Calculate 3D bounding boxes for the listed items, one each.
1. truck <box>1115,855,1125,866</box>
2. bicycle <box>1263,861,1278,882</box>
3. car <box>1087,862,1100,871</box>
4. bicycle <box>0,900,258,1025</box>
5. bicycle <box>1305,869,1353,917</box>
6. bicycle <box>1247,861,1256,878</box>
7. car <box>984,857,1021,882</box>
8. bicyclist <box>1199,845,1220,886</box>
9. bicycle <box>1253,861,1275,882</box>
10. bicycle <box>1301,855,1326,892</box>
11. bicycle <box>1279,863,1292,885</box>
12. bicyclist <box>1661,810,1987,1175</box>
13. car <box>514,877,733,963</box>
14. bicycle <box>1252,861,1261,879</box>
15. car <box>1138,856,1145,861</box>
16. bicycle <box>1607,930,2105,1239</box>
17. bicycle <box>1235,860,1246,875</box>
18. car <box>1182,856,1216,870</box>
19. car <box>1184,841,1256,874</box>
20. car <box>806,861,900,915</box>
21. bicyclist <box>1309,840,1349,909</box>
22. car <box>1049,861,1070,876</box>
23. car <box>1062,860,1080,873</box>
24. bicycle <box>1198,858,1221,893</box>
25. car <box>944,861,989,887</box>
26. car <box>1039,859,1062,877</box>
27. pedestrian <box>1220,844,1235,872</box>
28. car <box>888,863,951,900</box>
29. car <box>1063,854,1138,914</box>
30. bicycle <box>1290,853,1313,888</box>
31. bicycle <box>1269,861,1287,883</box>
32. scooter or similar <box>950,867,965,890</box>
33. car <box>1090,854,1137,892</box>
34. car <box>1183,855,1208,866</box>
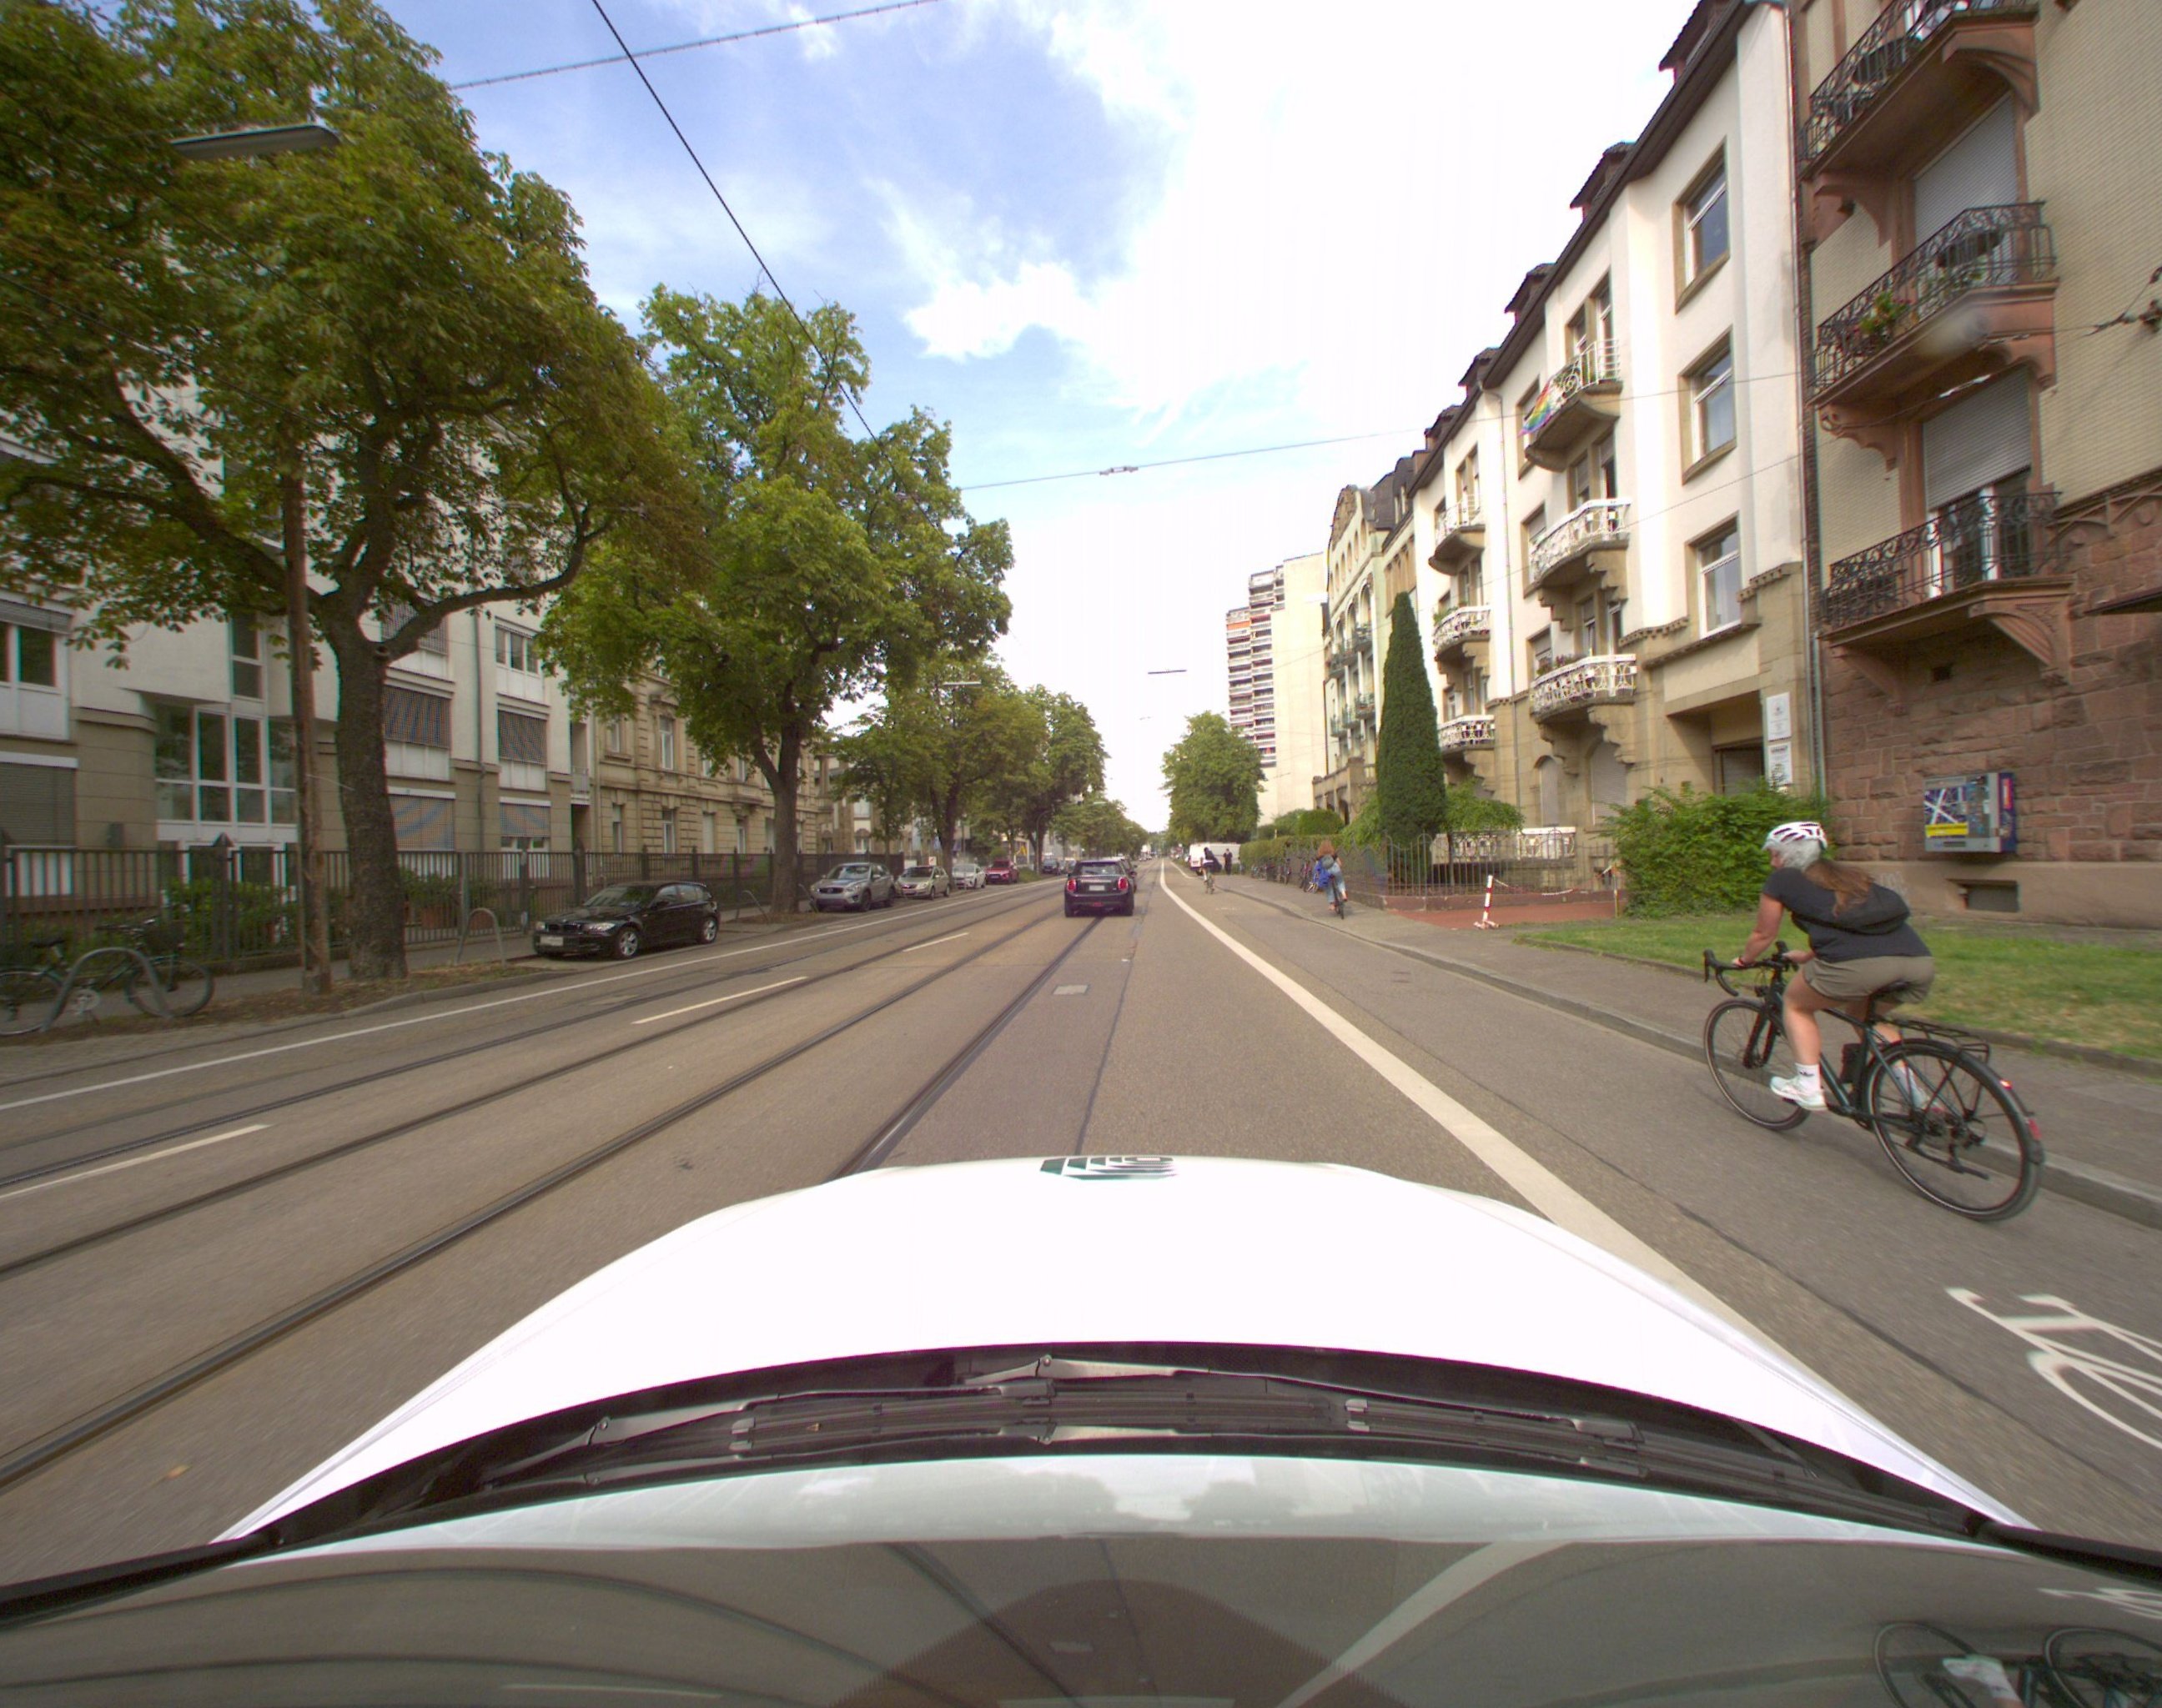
[{"bbox_3d":[9.759,1.668,203.789,2.061,2.470,4.905,-3,-1,5],"label":"truck"},{"bbox_3d":[8.414,0.770,36.249,0.483,0.907,1.669,-3,-1,9],"label":"bicycle"},{"bbox_3d":[2.043,1.943,130.391,1.794,1.374,4.036,-3,-1,5],"label":"car"},{"bbox_3d":[-10.696,1.152,8.894,2.241,1.175,0.828,-1,-1,-28],"label":"bicycle"},{"bbox_3d":[5.561,0.844,18.345,0.684,0.962,2.041,-2,0,8],"label":"bicycle"},{"bbox_3d":[9.534,0.844,45.534,0.383,0.907,1.669,-3,-1,10],"label":"bicycle"},{"bbox_3d":[-5.288,1.036,55.406,1.713,1.655,4.548,0,0,5],"label":"car"},{"bbox_3d":[4.739,0.426,30.138,0.654,1.463,1.180,-1,0,4],"label":"bicyclist"},{"bbox_3d":[8.563,0.824,38.158,0.485,0.907,1.661,-3,-1,-6],"label":"bicycle"},{"bbox_3d":[7.329,0.606,25.761,0.389,1.103,1.762,-3,-1,6],"label":"bicycle"},{"bbox_3d":[8.192,0.784,32.652,0.276,0.852,1.200,-3,-1,6],"label":"bicycle"},{"bbox_3d":[3.597,0.599,4.071,0.636,1.570,1.111,0,-1,3],"label":"bicyclist"},{"bbox_3d":[-9.100,1.231,16.671,1.711,1.424,4.174,0,0,7],"label":"car"},{"bbox_3d":[9.159,0.835,42.561,0.383,0.907,1.669,-3,-1,10],"label":"bicycle"},{"bbox_3d":[17.813,1.327,239.356,1.887,1.628,4.002,-1,0,2],"label":"car"},{"bbox_3d":[3.606,0.971,4.127,0.636,0.981,2.073,0,0,3],"label":"bicycle"},{"bbox_3d":[9.933,0.863,50.796,0.384,0.907,1.844,-3,-1,4],"label":"bicycle"},{"bbox_3d":[13.412,1.021,92.512,3.849,1.460,1.621,-1,-1,-42],"label":"car"},{"bbox_3d":[10.161,0.229,59.279,4.982,2.290,2.358,-1,-1,-38],"label":"car"},{"bbox_3d":[-7.867,1.119,28.540,1.702,1.673,4.363,-1,0,5],"label":"car"},{"bbox_3d":[5.517,0.441,18.139,0.644,1.470,0.802,-4,-1,8],"label":"bicyclist"},{"bbox_3d":[-2.212,1.496,84.595,1.685,1.427,3.873,-1,0,5],"label":"car"},{"bbox_3d":[-1.171,1.513,96.841,1.685,1.487,3.682,-1,-1,5],"label":"car"},{"bbox_3d":[4.731,0.772,30.126,0.654,1.249,2.127,-1,0,4],"label":"bicycle"},{"bbox_3d":[-6.532,1.129,46.762,1.713,1.424,4.028,0,0,5],"label":"car"},{"bbox_3d":[-2.888,1.362,77.845,1.747,1.647,4.058,-1,-1,5],"label":"car"},{"bbox_3d":[9.469,0.252,52.578,0.781,1.733,0.897,-4,-1,5],"label":"pedestrian"},{"bbox_3d":[-7.031,1.153,35.828,1.593,1.468,4.085,-1,0,5],"label":"car"},{"bbox_3d":[0.580,0.742,21.639,1.786,1.423,4.003,-1,-1,3],"label":"car"},{"bbox_3d":[7.696,0.556,28.458,0.389,1.142,1.924,-3,-1,6],"label":"bicycle"},{"bbox_3d":[8.334,0.765,34.461,0.483,0.907,1.668,-3,-1,6],"label":"bicycle"},{"bbox_3d":[-6.658,1.309,43.863,0.562,1.223,1.315,-1,-1,-18],"label":"scooter or similar"},{"bbox_3d":[1.344,0.735,33.147,1.786,1.470,4.002,0,0,2],"label":"car"},{"bbox_3d":[16.688,0.981,119.004,3.460,1.573,1.544,-1,-1,-34],"label":"car"}]
